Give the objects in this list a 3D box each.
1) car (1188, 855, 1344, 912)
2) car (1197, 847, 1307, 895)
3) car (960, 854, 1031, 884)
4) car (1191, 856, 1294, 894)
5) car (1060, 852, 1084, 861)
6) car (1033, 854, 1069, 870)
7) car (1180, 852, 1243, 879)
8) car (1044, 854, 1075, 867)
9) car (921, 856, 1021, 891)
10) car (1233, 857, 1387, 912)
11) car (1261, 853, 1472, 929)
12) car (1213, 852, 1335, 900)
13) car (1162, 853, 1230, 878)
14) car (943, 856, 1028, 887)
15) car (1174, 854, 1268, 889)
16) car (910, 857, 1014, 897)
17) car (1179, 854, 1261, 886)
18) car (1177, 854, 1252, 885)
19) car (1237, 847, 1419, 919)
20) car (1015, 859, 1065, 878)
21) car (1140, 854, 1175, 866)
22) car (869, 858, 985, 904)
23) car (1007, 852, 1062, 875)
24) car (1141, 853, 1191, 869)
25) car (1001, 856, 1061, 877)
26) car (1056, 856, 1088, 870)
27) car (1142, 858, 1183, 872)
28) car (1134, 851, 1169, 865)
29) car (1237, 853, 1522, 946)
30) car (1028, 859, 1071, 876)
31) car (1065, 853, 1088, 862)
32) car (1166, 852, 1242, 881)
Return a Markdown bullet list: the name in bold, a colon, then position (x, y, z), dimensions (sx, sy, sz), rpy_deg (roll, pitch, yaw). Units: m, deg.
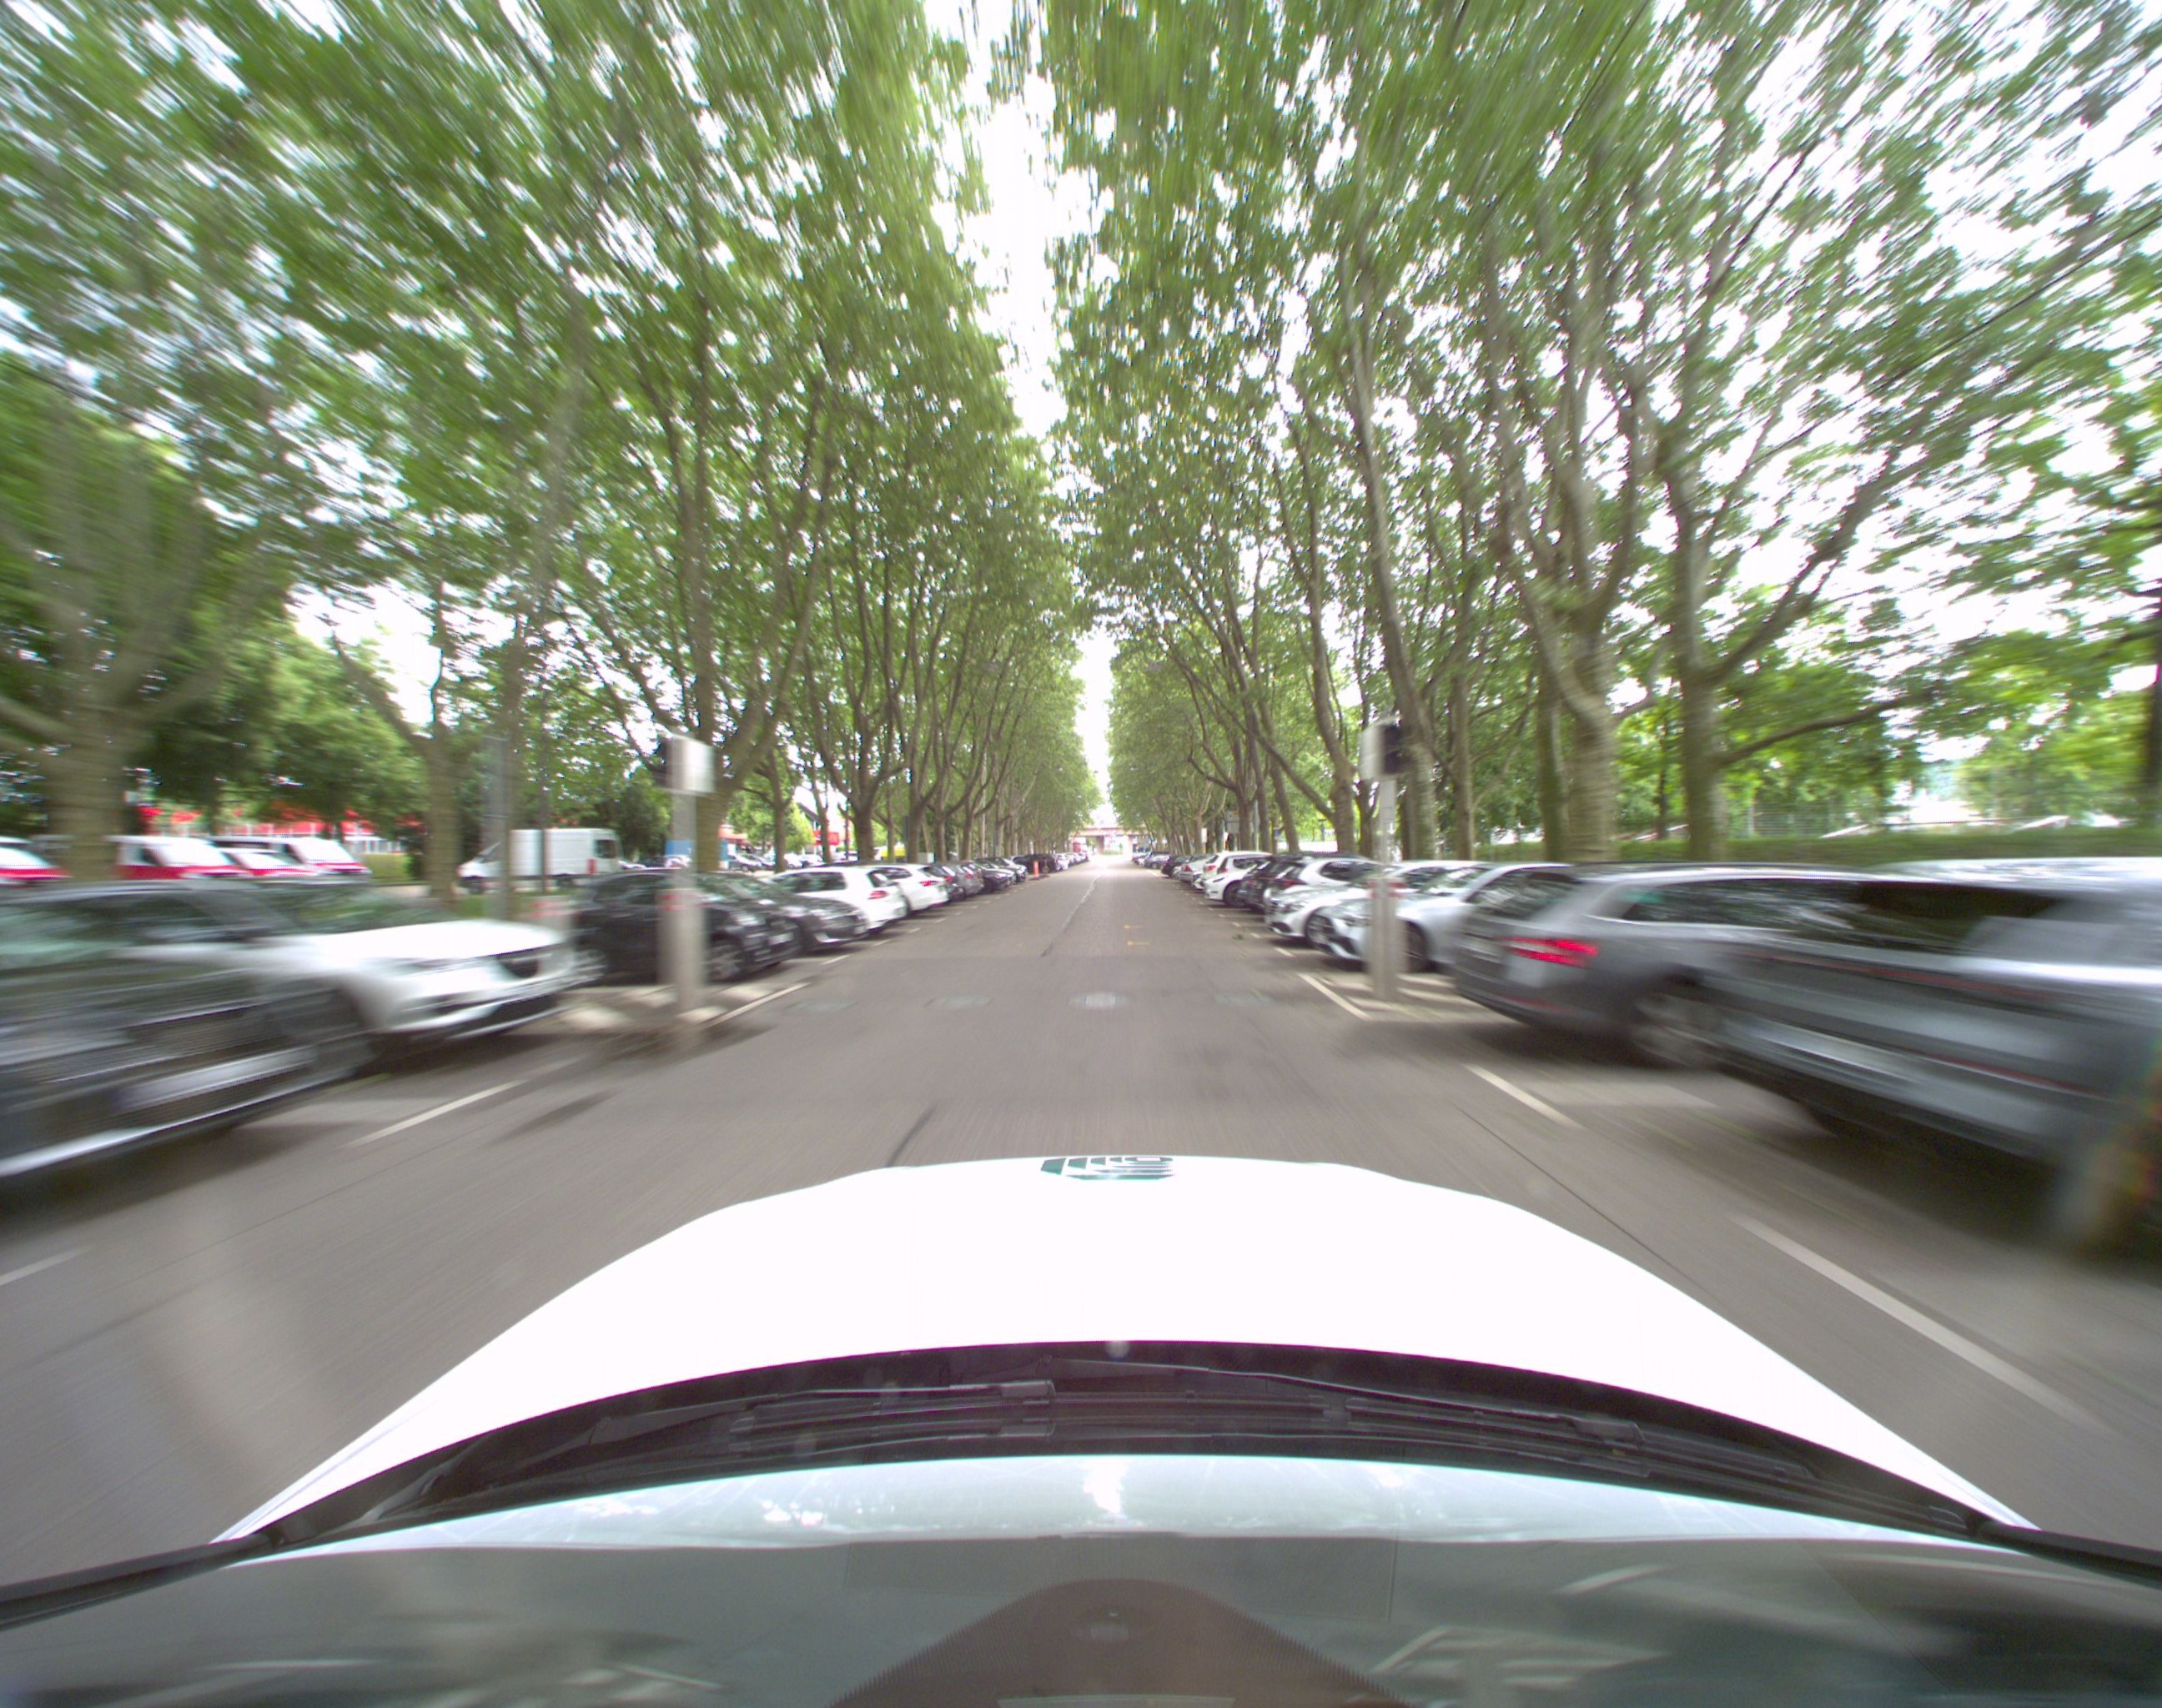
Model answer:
- **car**: position (5.348, 0.840, 23.856), dimensions (4.155, 1.596, 1.854), rpy_deg (0, 0, -2)
- **car**: position (6.064, 0.598, 29.089), dimensions (3.635, 1.667, 1.518), rpy_deg (0, 0, -2)
- **car**: position (-4.866, 0.845, 46.679), dimensions (3.815, 1.554, 1.694), rpy_deg (-2, 0, -1)
- **car**: position (6.093, 0.784, 31.015), dimensions (3.635, 1.410, 1.518), rpy_deg (0, 0, -2)
- **car**: position (-1.508, 0.428, 136.037), dimensions (3.795, 1.515, 1.688), rpy_deg (0, 0, 5)
- **car**: position (-3.380, 0.883, 93.487), dimensions (3.793, 1.602, 1.789), rpy_deg (-3, 0, 7)
- **car**: position (7.414, 0.657, 46.519), dimensions (3.413, 1.508, 1.556), rpy_deg (0, 0, 1)
- **car**: position (-2.786, 0.875, 106.629), dimensions (3.793, 1.515, 1.689), rpy_deg (-3, 0, 7)
- **car**: position (-5.256, 0.934, 39.151), dimensions (4.378, 1.429, 1.698), rpy_deg (-2, 0, 7)
- **car**: position (5.947, 0.778, 21.383), dimensions (3.635, 1.371, 1.518), rpy_deg (0, 0, -2)
- **car**: position (5.729, 0.724, 16.631), dimensions (3.765, 1.470, 1.623), rpy_deg (0, 0, -2)
- **car**: position (6.313, 0.702, 26.825), dimensions (3.635, 1.519, 1.643), rpy_deg (0, 0, -2)
- **car**: position (6.864, 0.656, 48.859), dimensions (3.905, 1.452, 1.556), rpy_deg (0, 0, 1)
- **car**: position (-5.128, 0.923, 43.933), dimensions (4.320, 1.429, 1.694), rpy_deg (-2, 0, -1)
- **car**: position (5.824, 0.710, 34.229), dimensions (3.635, 1.424, 1.984), rpy_deg (0, 0, -1)
- **car**: position (-4.889, 0.932, 33.883), dimensions (4.009, 1.429, 1.694), rpy_deg (-2, 0, -1)
- **car**: position (6.188, 0.700, 36.531), dimensions (3.415, 1.424, 1.518), rpy_deg (0, 0, -2)
- **car**: position (6.291, 0.722, 38.580), dimensions (3.409, 1.424, 1.521), rpy_deg (0, 0, 4)
- **car**: position (5.733, 0.649, 19.216), dimensions (3.765, 1.597, 1.820), rpy_deg (0, 0, -2)
- **car**: position (-3.563, 1.277, 71.569), dimensions (4.153, 1.381, 1.871), rpy_deg (-3, 0, 0)
- **car**: position (9.170, 0.696, 98.001), dimensions (4.035, 1.468, 1.731), rpy_deg (0, 0, -1)
- **car**: position (-5.501, 0.948, 29.385), dimensions (3.815, 1.429, 1.694), rpy_deg (-2, 0, -1)
- **car**: position (-3.923, 0.814, 69.188), dimensions (4.457, 1.677, 1.762), rpy_deg (-3, 0, 0)
- **car**: position (7.946, 0.628, 75.836), dimensions (4.550, 1.486, 2.004), rpy_deg (0, 0, 7)
- **car**: position (-4.025, 0.988, 66.374), dimensions (4.649, 1.427, 2.000), rpy_deg (-3, 0, 0)
- **car**: position (-1.150, 1.109, 103.182), dimensions (3.793, 1.515, 1.689), rpy_deg (-3, 0, 7)
- **car**: position (8.341, 1.133, 83.265), dimensions (4.153, 1.442, 1.734), rpy_deg (0, 0, 7)
- **car**: position (8.909, 0.543, 103.532), dimensions (4.363, 1.751, 1.731), rpy_deg (0, 0, -1)
- **car**: position (4.949, 0.734, 13.864), dimensions (4.285, 1.470, 1.623), rpy_deg (0, 0, -2)
- **car**: position (-2.933, 1.296, 76.629), dimensions (3.793, 1.354, 1.665), rpy_deg (-3, 0, 7)
- **car**: position (-0.727, 0.659, 138.016), dimensions (3.795, 1.515, 1.688), rpy_deg (0, 0, 5)
- **car**: position (6.209, 0.640, 41.357), dimensions (3.666, 1.424, 1.519), rpy_deg (0, 0, 0)
